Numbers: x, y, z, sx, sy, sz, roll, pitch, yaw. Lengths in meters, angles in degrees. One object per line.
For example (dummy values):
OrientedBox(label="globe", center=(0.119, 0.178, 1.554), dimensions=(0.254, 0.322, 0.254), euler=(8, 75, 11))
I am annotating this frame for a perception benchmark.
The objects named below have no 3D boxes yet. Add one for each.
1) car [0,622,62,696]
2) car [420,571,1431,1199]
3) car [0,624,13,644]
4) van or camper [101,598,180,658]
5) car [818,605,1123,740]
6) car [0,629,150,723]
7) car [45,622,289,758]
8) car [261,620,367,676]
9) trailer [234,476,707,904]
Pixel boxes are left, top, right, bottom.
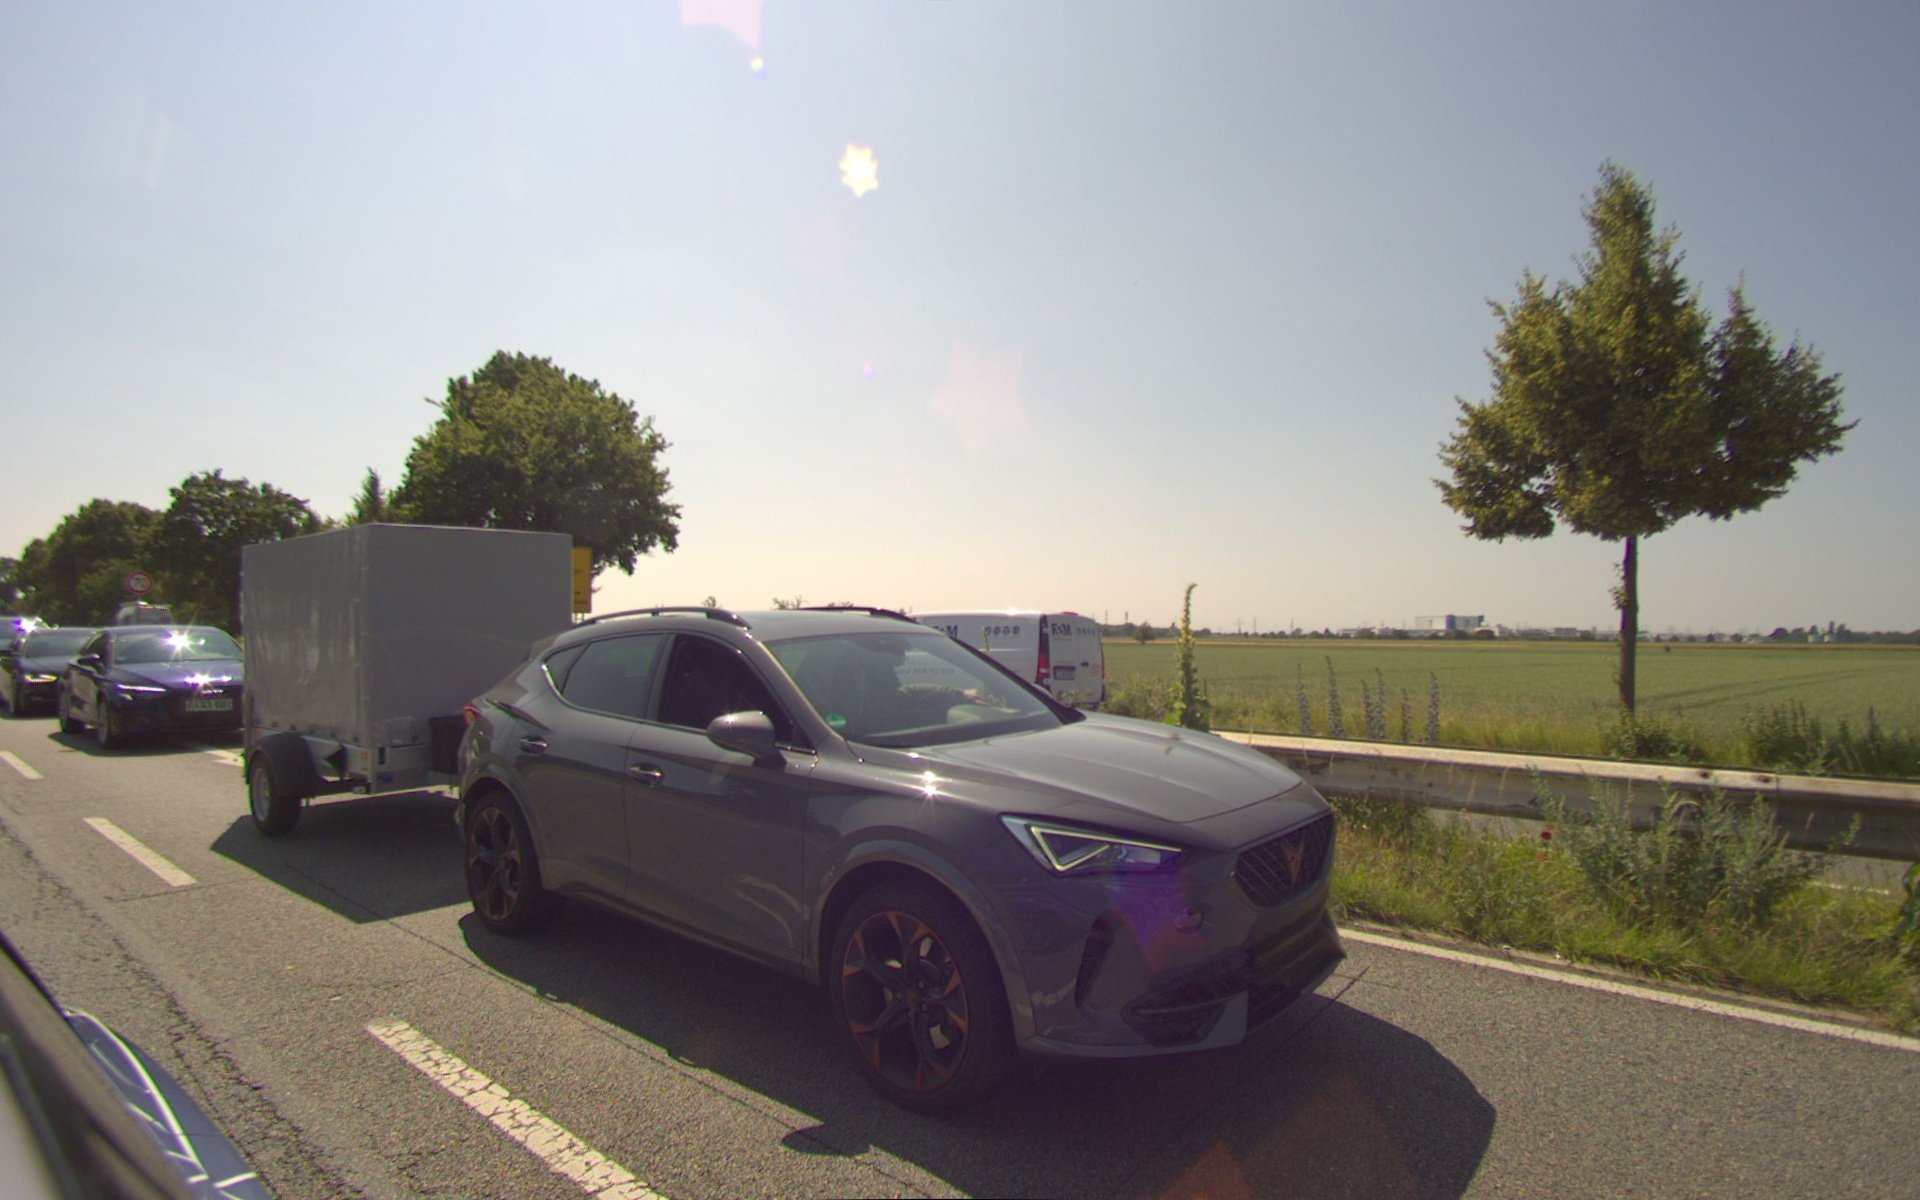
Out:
OrientedBox(label="car", center=(-21.662, 1.282, 22.703), dimensions=(4.099, 1.527, 1.836), euler=(-1, -1, 42))
OrientedBox(label="car", center=(-0.542, 0.744, 4.376), dimensions=(4.360, 1.514, 1.727), euler=(-2, -1, 41))
OrientedBox(label="car", center=(-95.058, 3.301, 99.673), dimensions=(4.827, 1.966, 1.973), euler=(-1, -4, 41))
OrientedBox(label="van or camper", center=(-44.817, 1.540, 55.333), dimensions=(5.690, 3.123, 2.240), euler=(-2, -3, 40))
OrientedBox(label="car", center=(0.057, 1.123, 16.964), dimensions=(5.011, 1.945, 1.973), euler=(-2, -3, 40))
OrientedBox(label="car", center=(-15.543, 1.211, 17.454), dimensions=(4.453, 1.391, 1.722), euler=(-1, -1, 41))
OrientedBox(label="car", center=(-10.316, 1.038, 13.071), dimensions=(4.027, 1.476, 1.700), euler=(-1, -1, 40))
OrientedBox(label="car", center=(-22.981, 1.678, 35.936), dimensions=(4.693, 1.870, 1.838), euler=(-2, -3, 40))
OrientedBox(label="trailer", center=(-3.641, 0.507, 7.131), dimensions=(4.172, 2.190, 1.485), euler=(-2, -1, 41))
